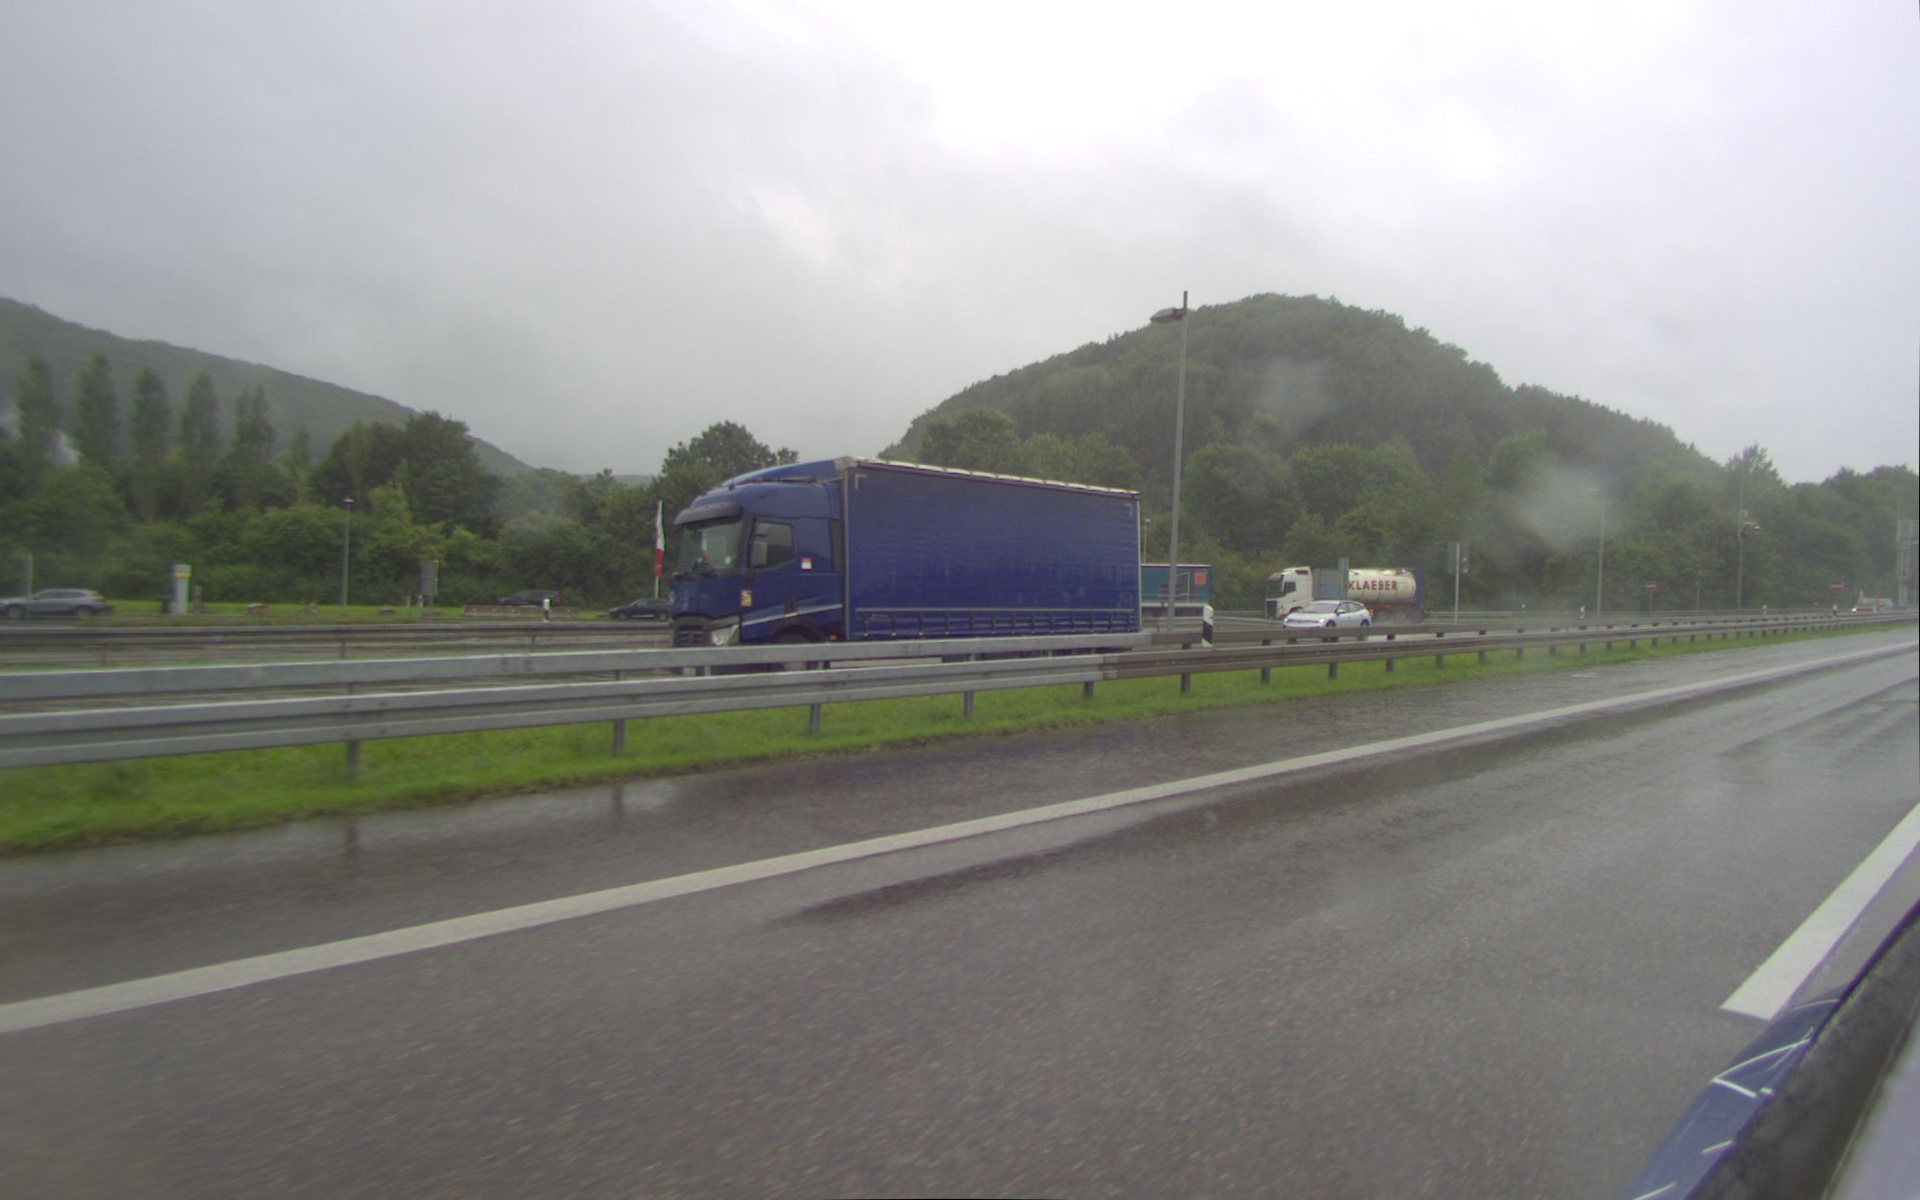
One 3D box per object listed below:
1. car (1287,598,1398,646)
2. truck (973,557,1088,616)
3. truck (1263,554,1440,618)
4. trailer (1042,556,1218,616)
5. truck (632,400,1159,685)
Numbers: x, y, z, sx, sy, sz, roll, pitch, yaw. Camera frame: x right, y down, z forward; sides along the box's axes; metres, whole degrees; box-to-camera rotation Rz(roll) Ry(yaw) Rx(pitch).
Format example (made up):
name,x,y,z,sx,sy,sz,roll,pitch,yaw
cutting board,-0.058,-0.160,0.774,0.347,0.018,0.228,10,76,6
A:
name,x,y,z,sx,sy,sz,roll,pitch,yaw
car,15.566,0.830,41.023,5.567,1.772,1.995,-1,0,-43
truck,4.737,-0.917,68.780,7.382,3.916,2.760,0,0,-6
truck,27.531,-0.995,71.313,11.629,4.310,2.884,0,0,-8
trailer,11.619,-0.971,69.476,11.514,3.950,2.796,0,0,-6
truck,-0.738,-0.885,20.604,10.853,4.458,3.407,0,-1,-40
